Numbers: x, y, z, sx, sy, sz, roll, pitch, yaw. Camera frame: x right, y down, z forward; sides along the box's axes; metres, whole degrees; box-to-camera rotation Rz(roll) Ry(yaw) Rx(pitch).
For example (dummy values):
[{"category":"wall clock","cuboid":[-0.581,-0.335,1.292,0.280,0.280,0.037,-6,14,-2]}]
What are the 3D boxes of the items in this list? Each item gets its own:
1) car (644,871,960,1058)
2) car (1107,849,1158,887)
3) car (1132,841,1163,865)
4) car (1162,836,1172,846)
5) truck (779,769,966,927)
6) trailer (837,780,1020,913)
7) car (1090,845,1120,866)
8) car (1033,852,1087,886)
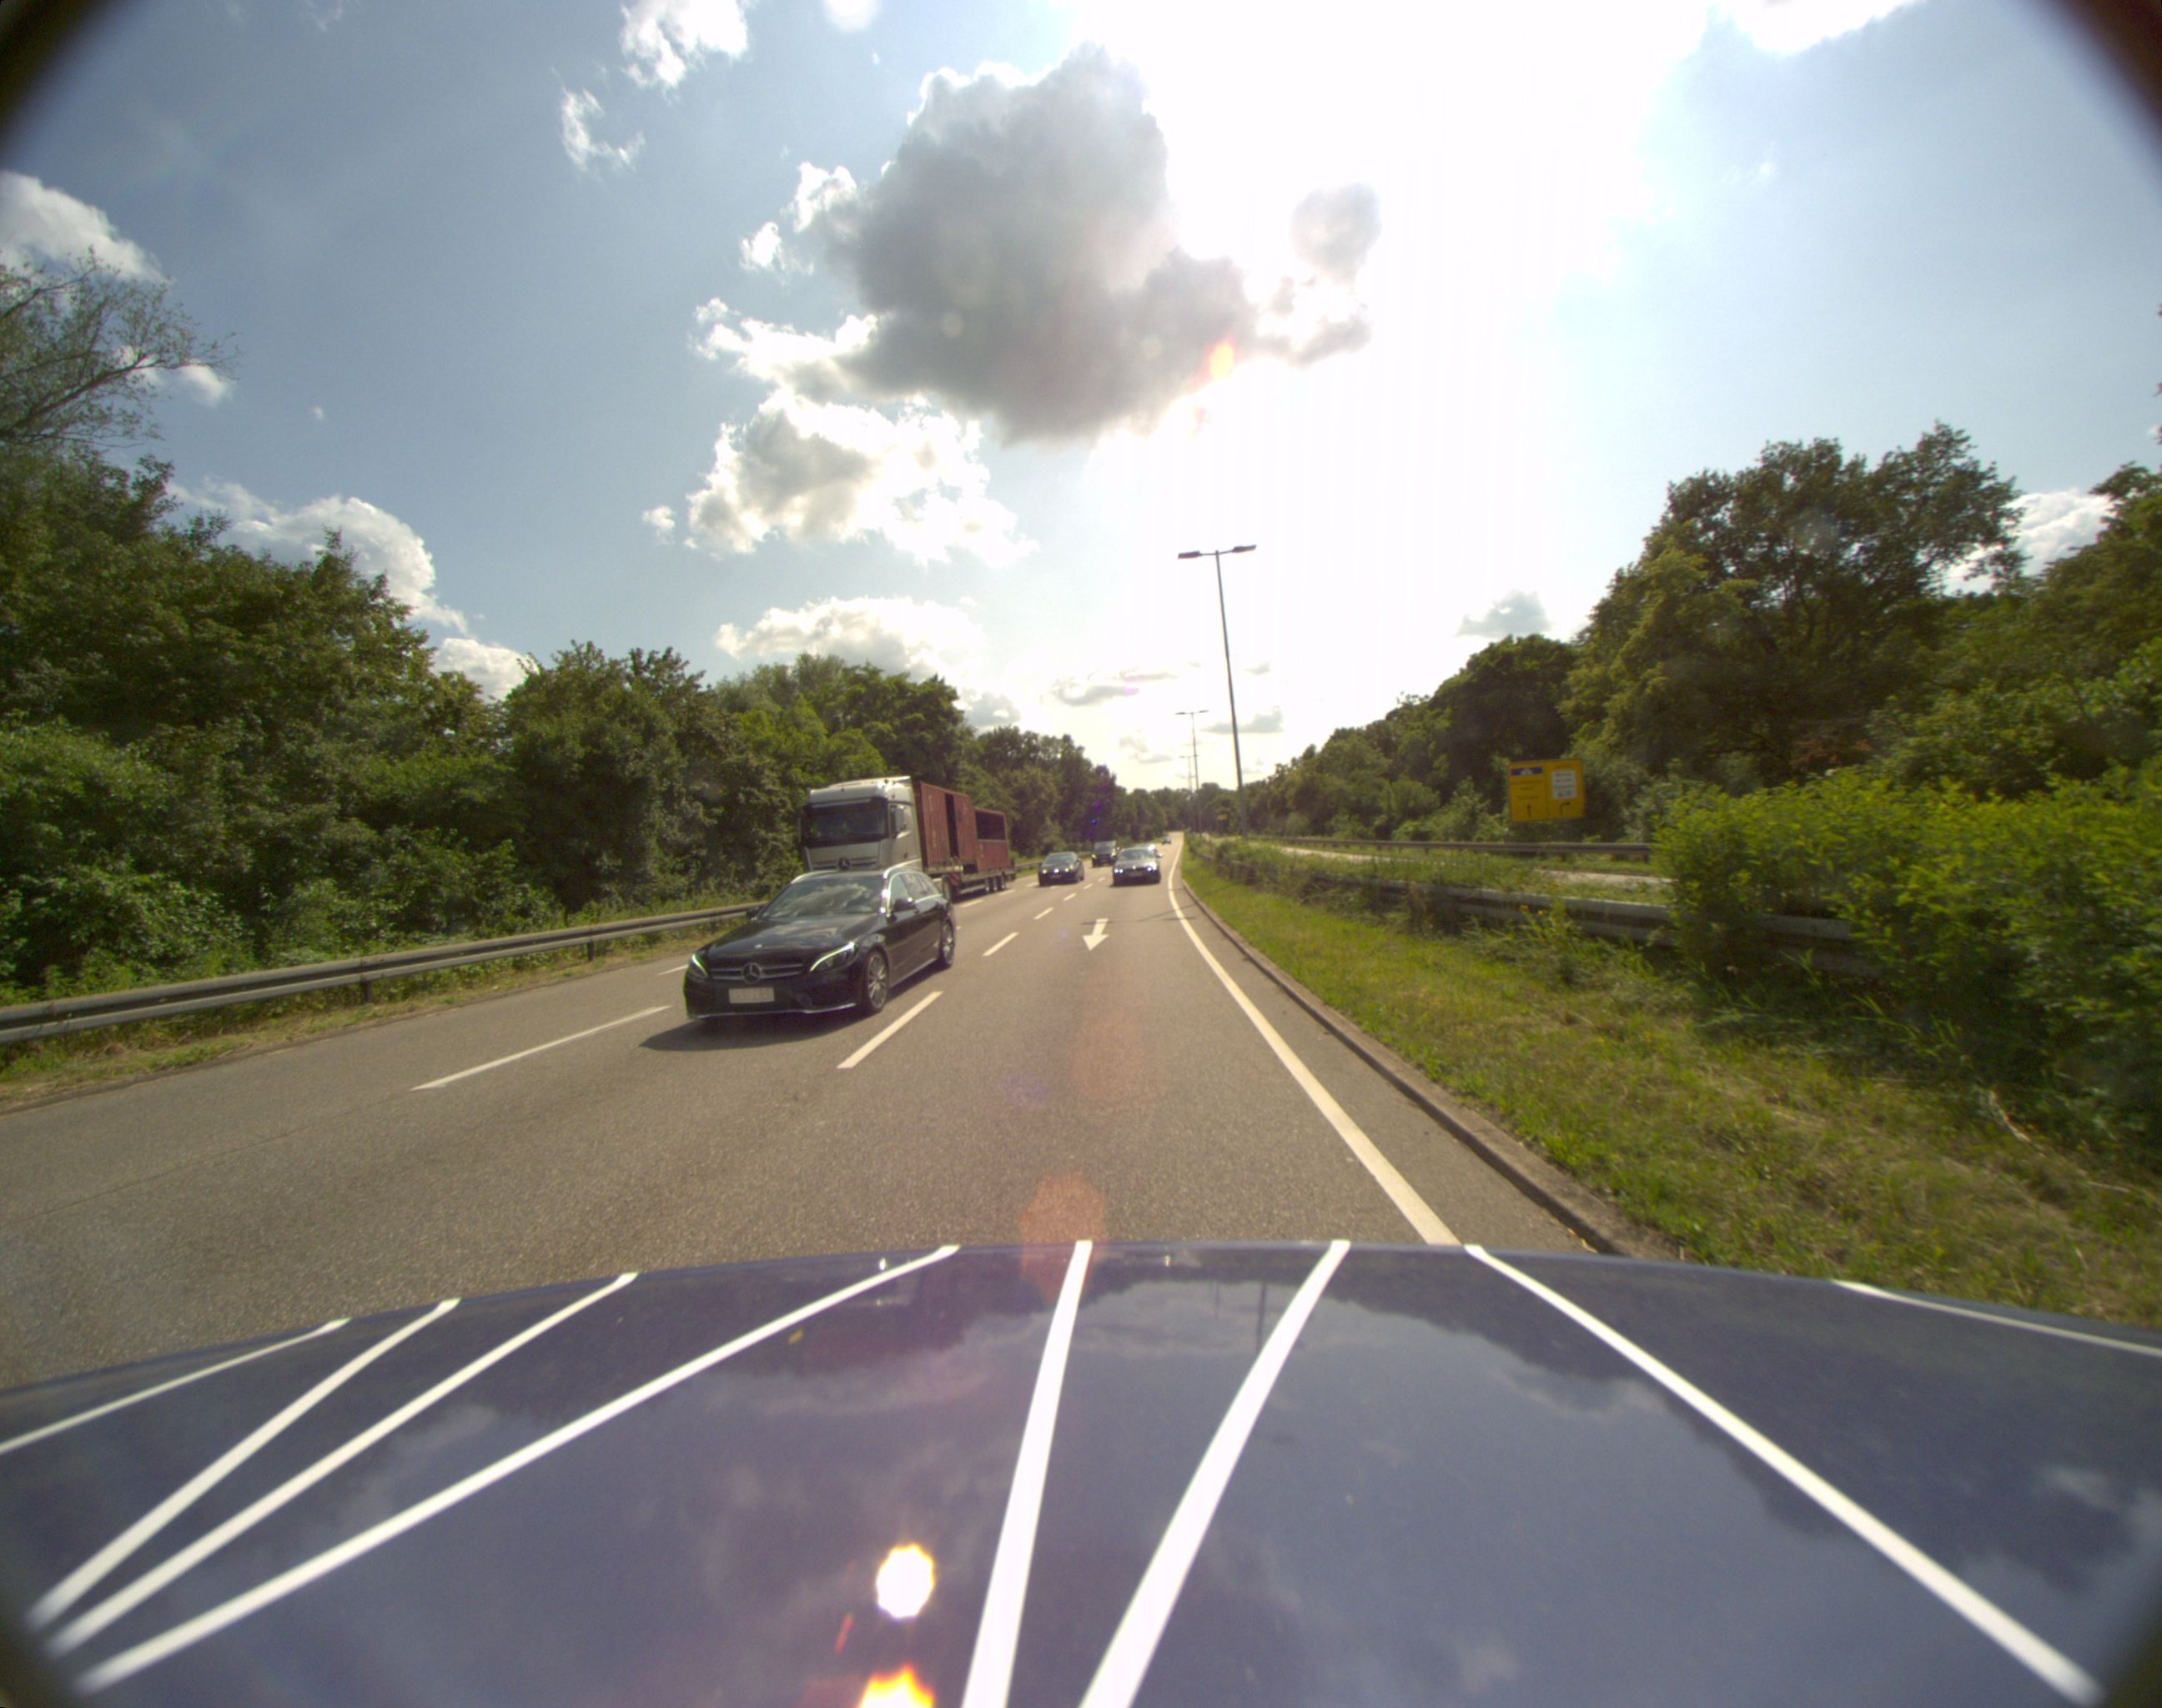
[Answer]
[{"category":"car","cuboid":[-2.830,1.037,8.912,1.795,1.427,4.370,-4,0,3]},{"category":"car","cuboid":[2.123,0.518,30.472,1.857,1.354,4.001,-2,0,6]},{"category":"car","cuboid":[4.490,-0.056,50.730,1.857,1.402,4.002,-4,0,7]},{"category":"car","cuboid":[18.677,-2.809,165.243,1.975,2.002,4.001,-3,1,8]},{"category":"truck","cuboid":[-5.852,-0.167,22.782,2.775,3.822,6.823,-5,0,6]},{"category":"trailer","cuboid":[-5.099,-0.270,28.983,2.777,3.827,12.326,-4,0,7]},{"category":"car","cuboid":[1.873,0.078,57.602,1.857,1.402,4.002,-4,0,7]},{"category":"car","cuboid":[-0.909,0.659,35.411,1.857,1.402,4.002,-4,0,7]}]
